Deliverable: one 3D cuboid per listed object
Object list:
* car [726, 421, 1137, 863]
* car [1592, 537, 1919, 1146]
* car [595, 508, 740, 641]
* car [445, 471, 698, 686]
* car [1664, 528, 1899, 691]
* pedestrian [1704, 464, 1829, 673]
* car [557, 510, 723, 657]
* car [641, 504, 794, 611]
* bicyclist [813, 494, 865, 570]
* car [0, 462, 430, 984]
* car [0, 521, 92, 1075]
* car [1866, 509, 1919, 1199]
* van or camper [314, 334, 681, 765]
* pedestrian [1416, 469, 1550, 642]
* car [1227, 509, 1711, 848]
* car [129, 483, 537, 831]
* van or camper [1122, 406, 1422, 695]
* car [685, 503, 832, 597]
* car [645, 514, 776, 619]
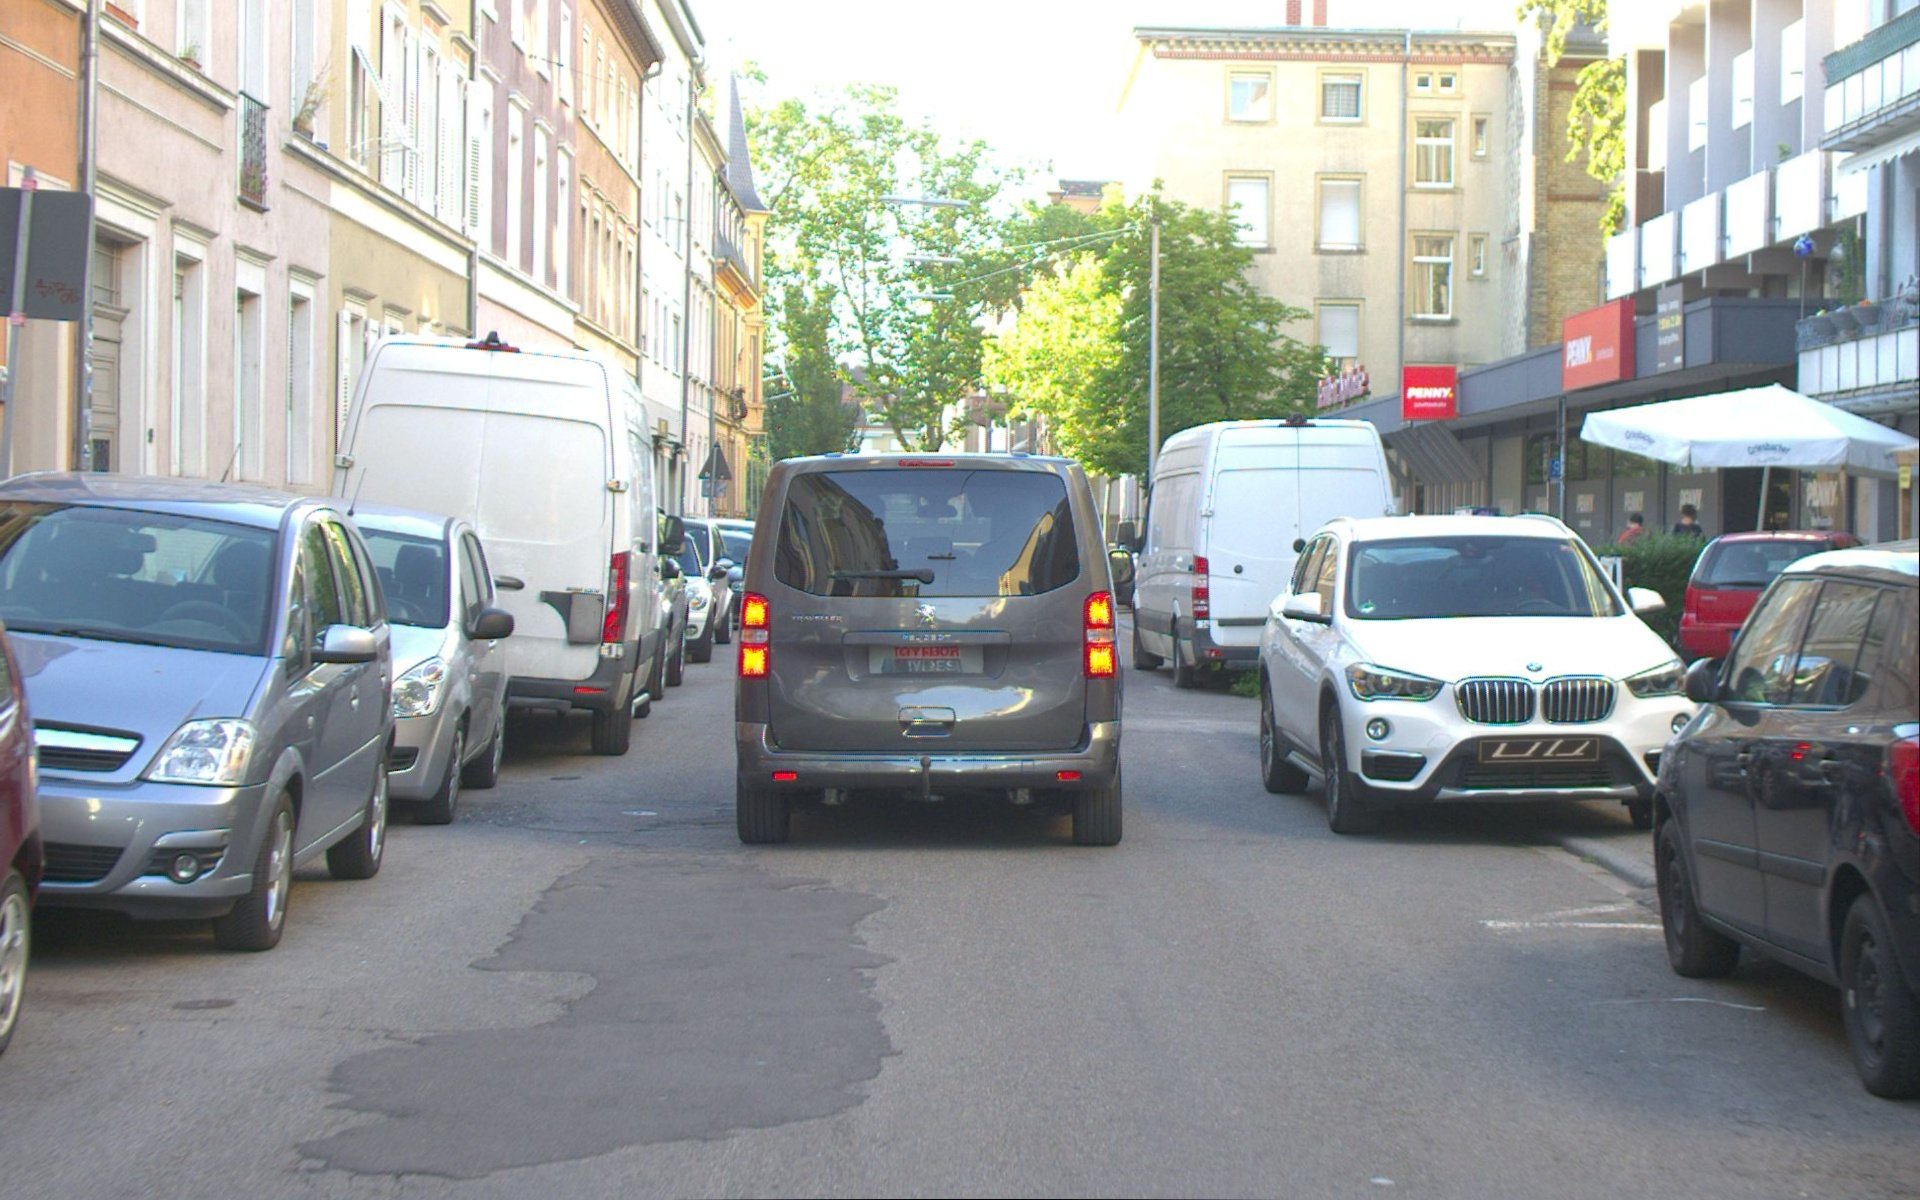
[{"bbox_3d":[-0.164,0.133,17.724,1.857,2.006,4.001,-1,2,-1],"label":"car"},{"bbox_3d":[3.169,0.569,10.709,1.620,1.481,4.125,-1,2,0],"label":"car"},{"bbox_3d":[-3.547,-0.339,42.000,1.386,1.526,2.749,2,2,2],"label":"car"},{"bbox_3d":[-3.410,-0.238,30.877,1.863,1.745,4.294,2,2,-2],"label":"car"},{"bbox_3d":[7.665,0.049,31.906,1.602,1.411,3.225,1,1,23],"label":"car"},{"bbox_3d":[8.398,-0.332,35.832,0.872,2.137,0.956,0,1,-17],"label":"pedestrian"},{"bbox_3d":[-3.551,-0.224,38.451,1.710,1.492,3.856,2,2,-5],"label":"car"},{"bbox_3d":[-3.885,-0.719,55.793,1.993,1.599,4.585,2,2,2],"label":"car"},{"bbox_3d":[-2.538,-1.436,72.087,1.034,1.572,0.833,0,1,2],"label":"bicyclist"},{"bbox_3d":[-3.195,0.328,13.219,1.711,1.638,3.980,4,2,-2],"label":"car"},{"bbox_3d":[-3.275,0.496,7.993,1.657,1.443,3.286,5,1,-2],"label":"car"},{"bbox_3d":[2.873,0.641,6.062,1.622,1.552,3.694,2,2,2],"label":"car"},{"bbox_3d":[-3.125,-0.404,24.675,1.949,2.640,7.142,0,1,-2],"label":"van or camper"},{"bbox_3d":[4.798,-0.418,31.554,0.870,1.550,0.876,-2,2,-22],"label":"pedestrian"},{"bbox_3d":[2.636,0.328,18.877,1.722,1.606,4.589,1,1,-3],"label":"car"},{"bbox_3d":[-3.325,0.232,18.818,1.590,1.680,3.653,2,2,-1],"label":"car"},{"bbox_3d":[2.993,-0.543,34.770,2.099,2.593,7.513,0,1,-2],"label":"van or camper"},{"bbox_3d":[-3.574,-0.920,61.692,1.994,1.555,4.584,2,2,4],"label":"car"},{"bbox_3d":[-3.665,-0.527,50.884,1.788,1.392,4.468,2,2,-3],"label":"car"}]
